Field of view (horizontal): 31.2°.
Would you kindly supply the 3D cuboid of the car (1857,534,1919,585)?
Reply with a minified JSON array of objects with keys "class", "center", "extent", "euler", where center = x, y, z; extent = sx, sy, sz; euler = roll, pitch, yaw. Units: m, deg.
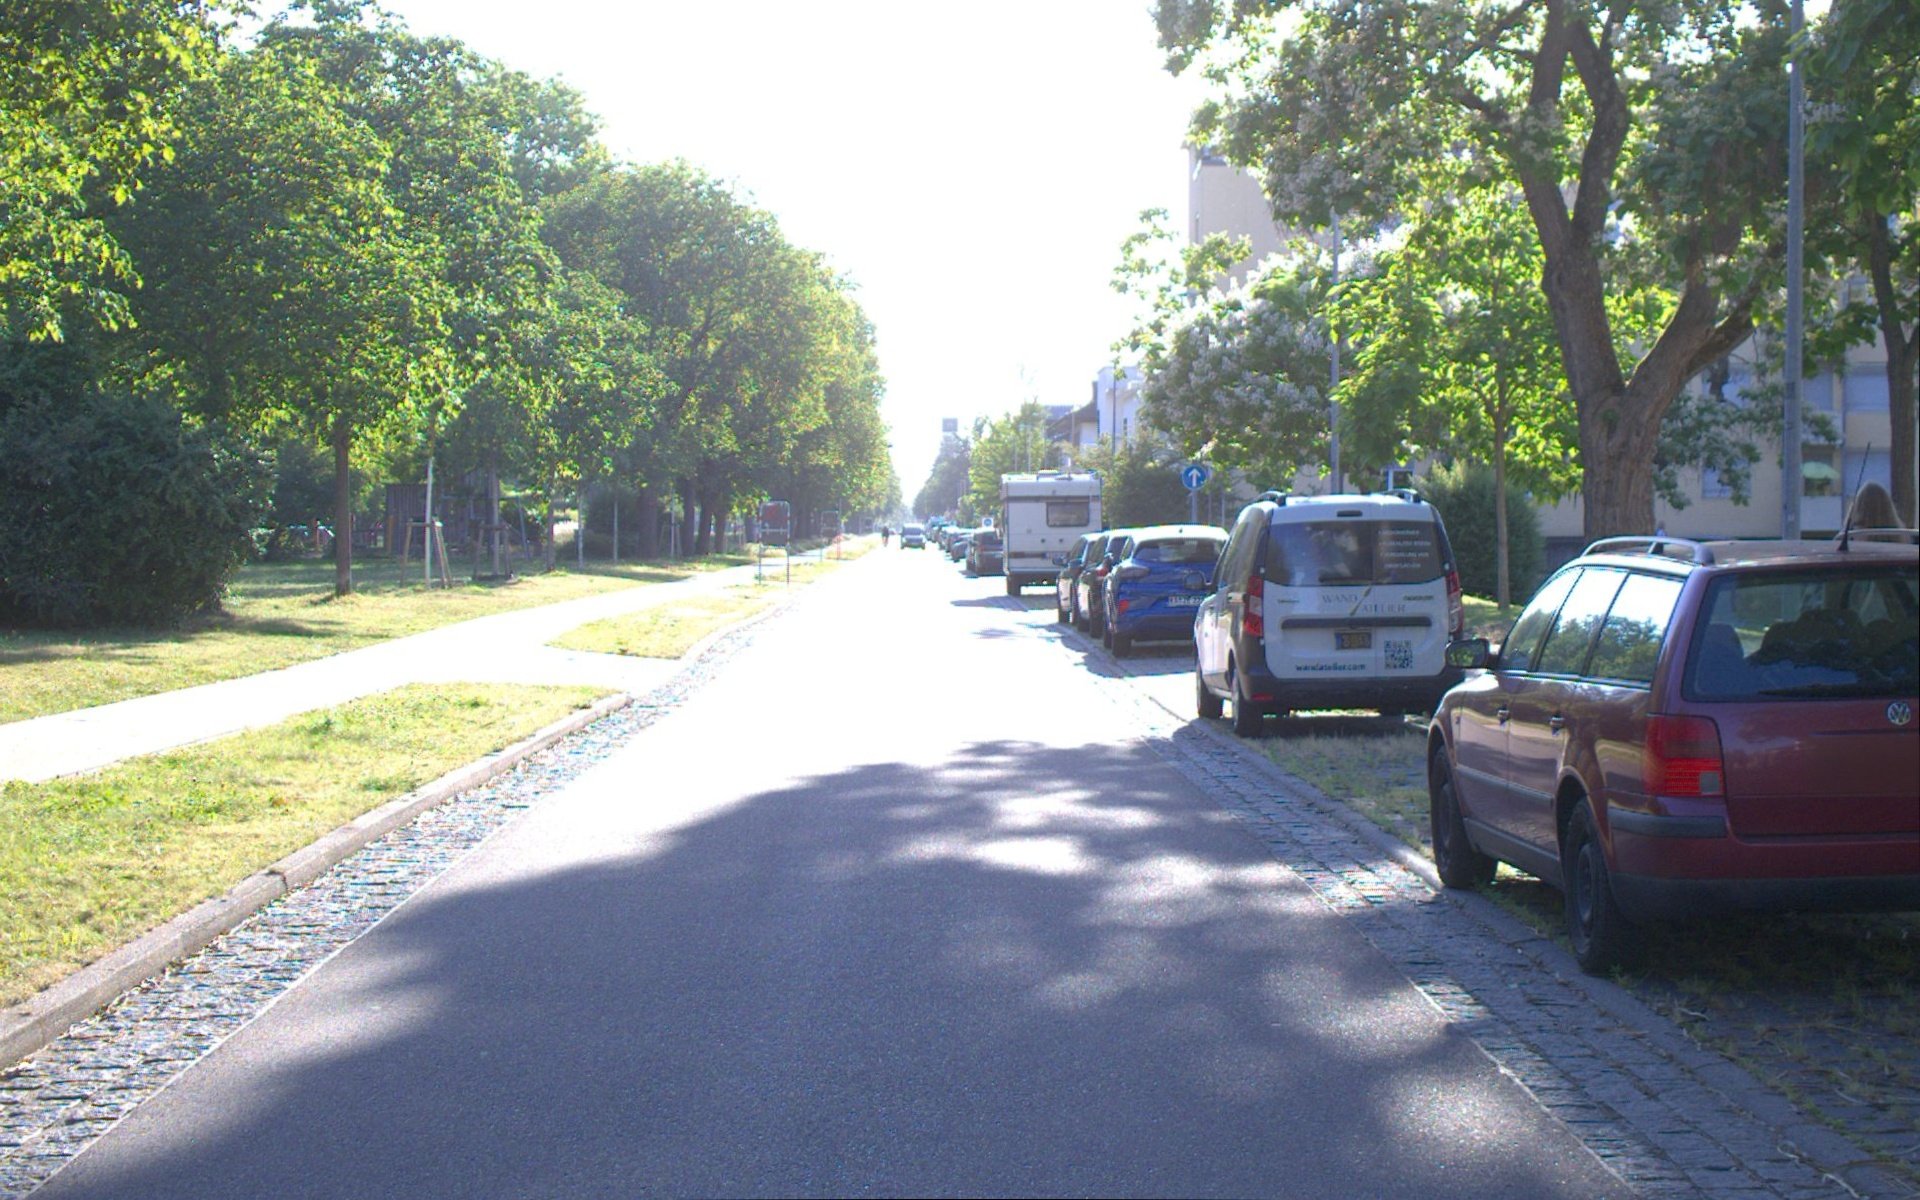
[{"class":"car","center":[26.404,-1.096,92.643],"extent":[4.199,1.353,1.691],"euler":[0,1,20]}]

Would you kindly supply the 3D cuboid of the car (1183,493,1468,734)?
[{"class":"car","center":[2.786,0.059,27.063],"extent":[1.678,1.734,4.514],"euler":[0,1,-1]}]

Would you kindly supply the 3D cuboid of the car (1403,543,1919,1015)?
[{"class":"car","center":[2.895,0.525,13.227],"extent":[1.678,1.481,4.810],"euler":[0,1,-1]}]

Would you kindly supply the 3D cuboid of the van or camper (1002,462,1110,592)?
[{"class":"van or camper","center":[2.177,-1.650,79.937],"extent":[2.234,2.894,5.673],"euler":[0,0,-1]}]

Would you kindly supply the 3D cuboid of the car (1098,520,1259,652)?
[{"class":"car","center":[2.648,-0.192,42.482],"extent":[1.732,1.545,4.276],"euler":[0,1,0]}]

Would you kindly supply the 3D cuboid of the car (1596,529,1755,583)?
[{"class":"car","center":[19.678,-1.208,94.516],"extent":[4.198,1.457,1.692],"euler":[0,1,15]}]

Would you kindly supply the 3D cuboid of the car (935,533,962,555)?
[{"class":"car","center":[-0.754,-3.620,222.926],"extent":[1.626,1.405,4.250],"euler":[0,1,-1]}]

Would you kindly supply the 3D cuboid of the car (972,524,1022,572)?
[{"class":"car","center":[1.293,-1.846,121.314],"extent":[1.626,1.663,4.250],"euler":[0,1,-1]}]

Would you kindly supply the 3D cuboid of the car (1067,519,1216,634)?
[{"class":"car","center":[2.531,-0.356,48.733],"extent":[1.731,1.545,4.423],"euler":[0,1,-2]}]

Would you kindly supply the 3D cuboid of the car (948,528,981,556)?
[{"class":"car","center":[0.218,-2.949,174.821],"extent":[1.626,1.405,4.250],"euler":[0,1,-1]}]

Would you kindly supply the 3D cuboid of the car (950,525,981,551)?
[{"class":"car","center":[0.286,-3.340,186.200],"extent":[1.626,1.405,4.250],"euler":[0,1,-1]}]

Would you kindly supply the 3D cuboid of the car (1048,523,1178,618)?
[{"class":"car","center":[2.425,-0.487,55.316],"extent":[1.626,1.459,4.250],"euler":[0,1,-4]}]

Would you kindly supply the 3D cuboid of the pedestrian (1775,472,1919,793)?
[{"class":"pedestrian","center":[4.998,0.169,19.037],"extent":[0.753,1.730,0.732],"euler":[1,1,0]}]
